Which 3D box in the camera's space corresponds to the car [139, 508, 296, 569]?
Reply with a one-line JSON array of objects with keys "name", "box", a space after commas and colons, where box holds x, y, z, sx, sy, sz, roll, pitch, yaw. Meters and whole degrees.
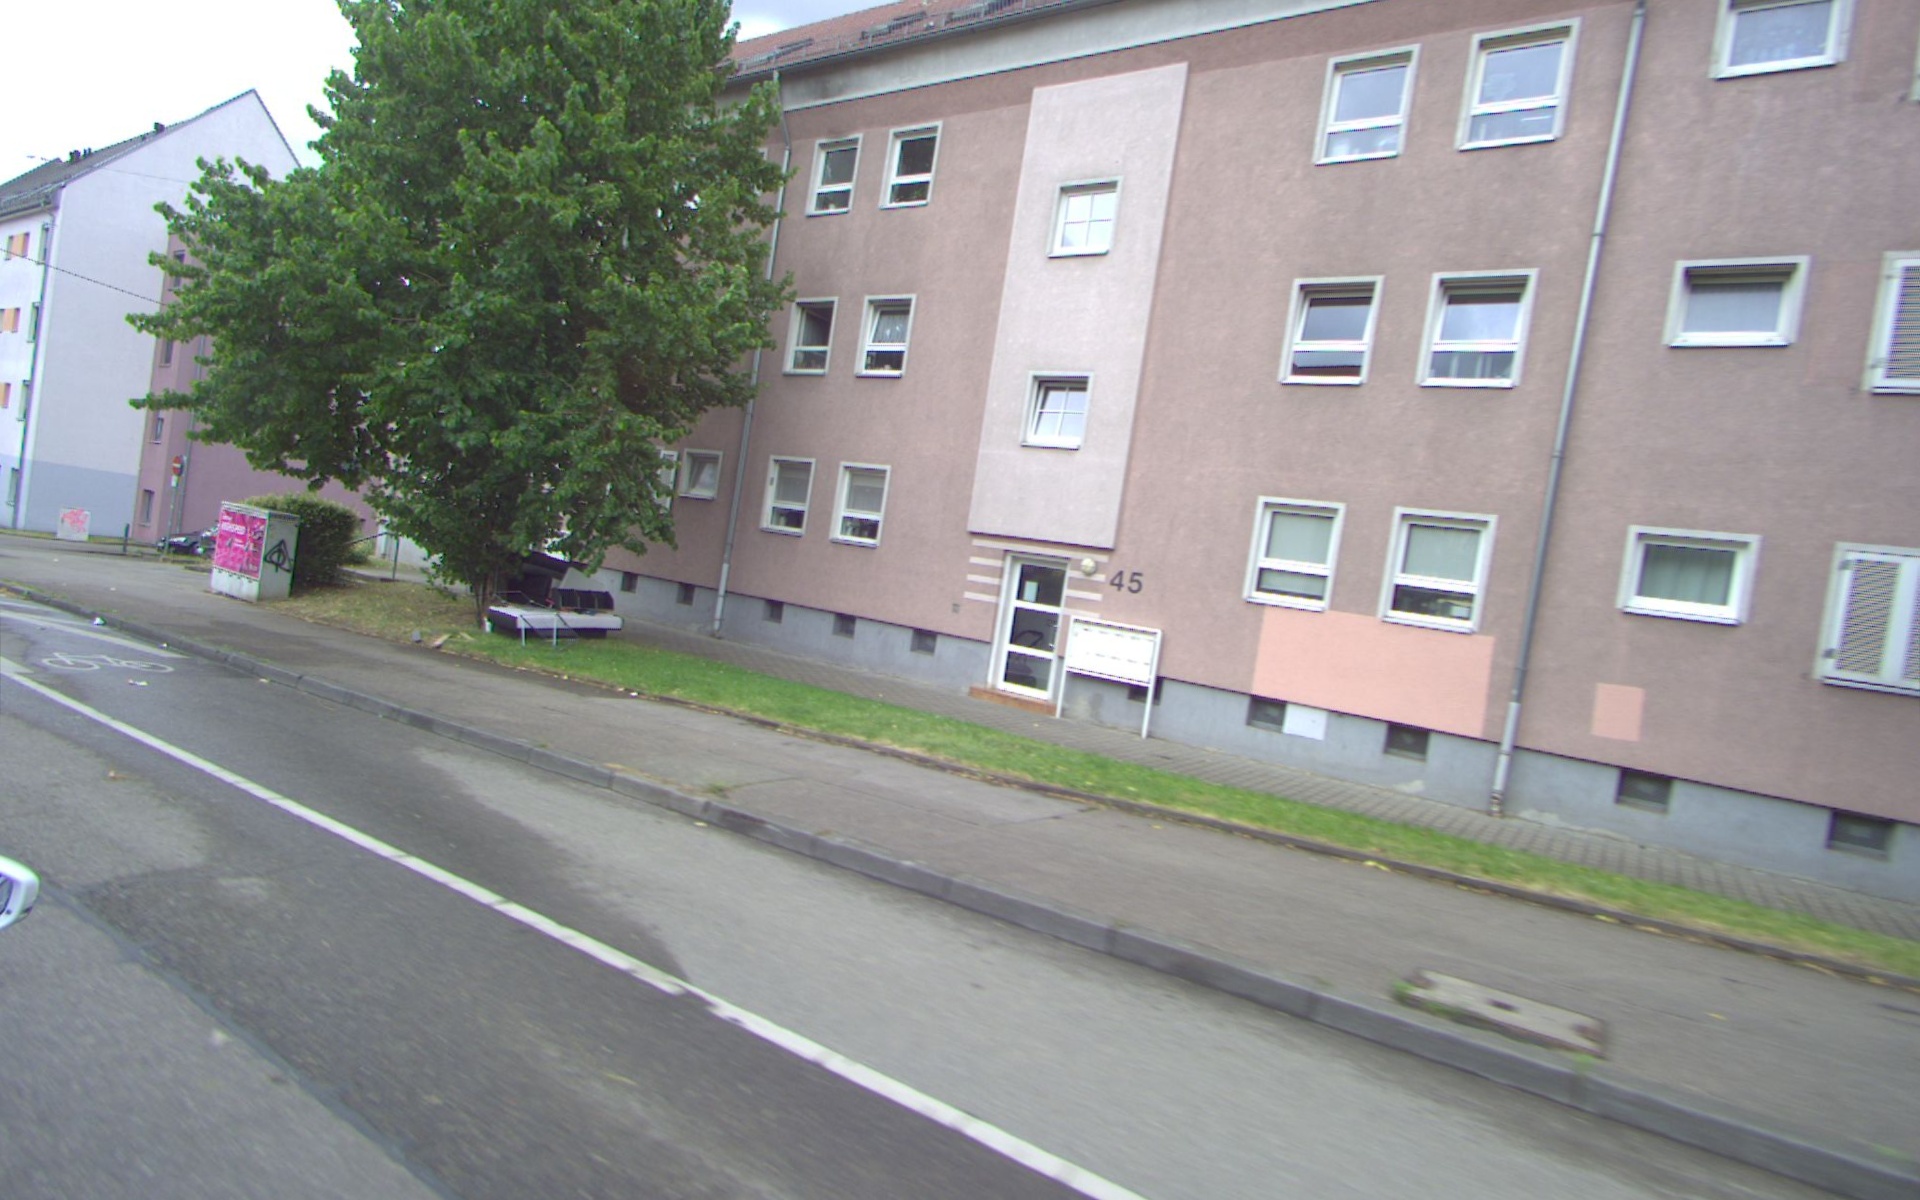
[{"name": "car", "box": [-25.993, -2.131, 35.331, 1.732, 1.473, 3.990, 7, -1, 35]}]

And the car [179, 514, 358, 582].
[{"name": "car", "box": [-20.499, -1.500, 29.965, 1.662, 1.470, 3.990, 5, -2, 34]}]

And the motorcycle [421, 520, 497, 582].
[{"name": "motorcycle", "box": [-11.793, -1.165, 23.642, 1.935, 1.242, 0.591, 7, 0, 34]}]
